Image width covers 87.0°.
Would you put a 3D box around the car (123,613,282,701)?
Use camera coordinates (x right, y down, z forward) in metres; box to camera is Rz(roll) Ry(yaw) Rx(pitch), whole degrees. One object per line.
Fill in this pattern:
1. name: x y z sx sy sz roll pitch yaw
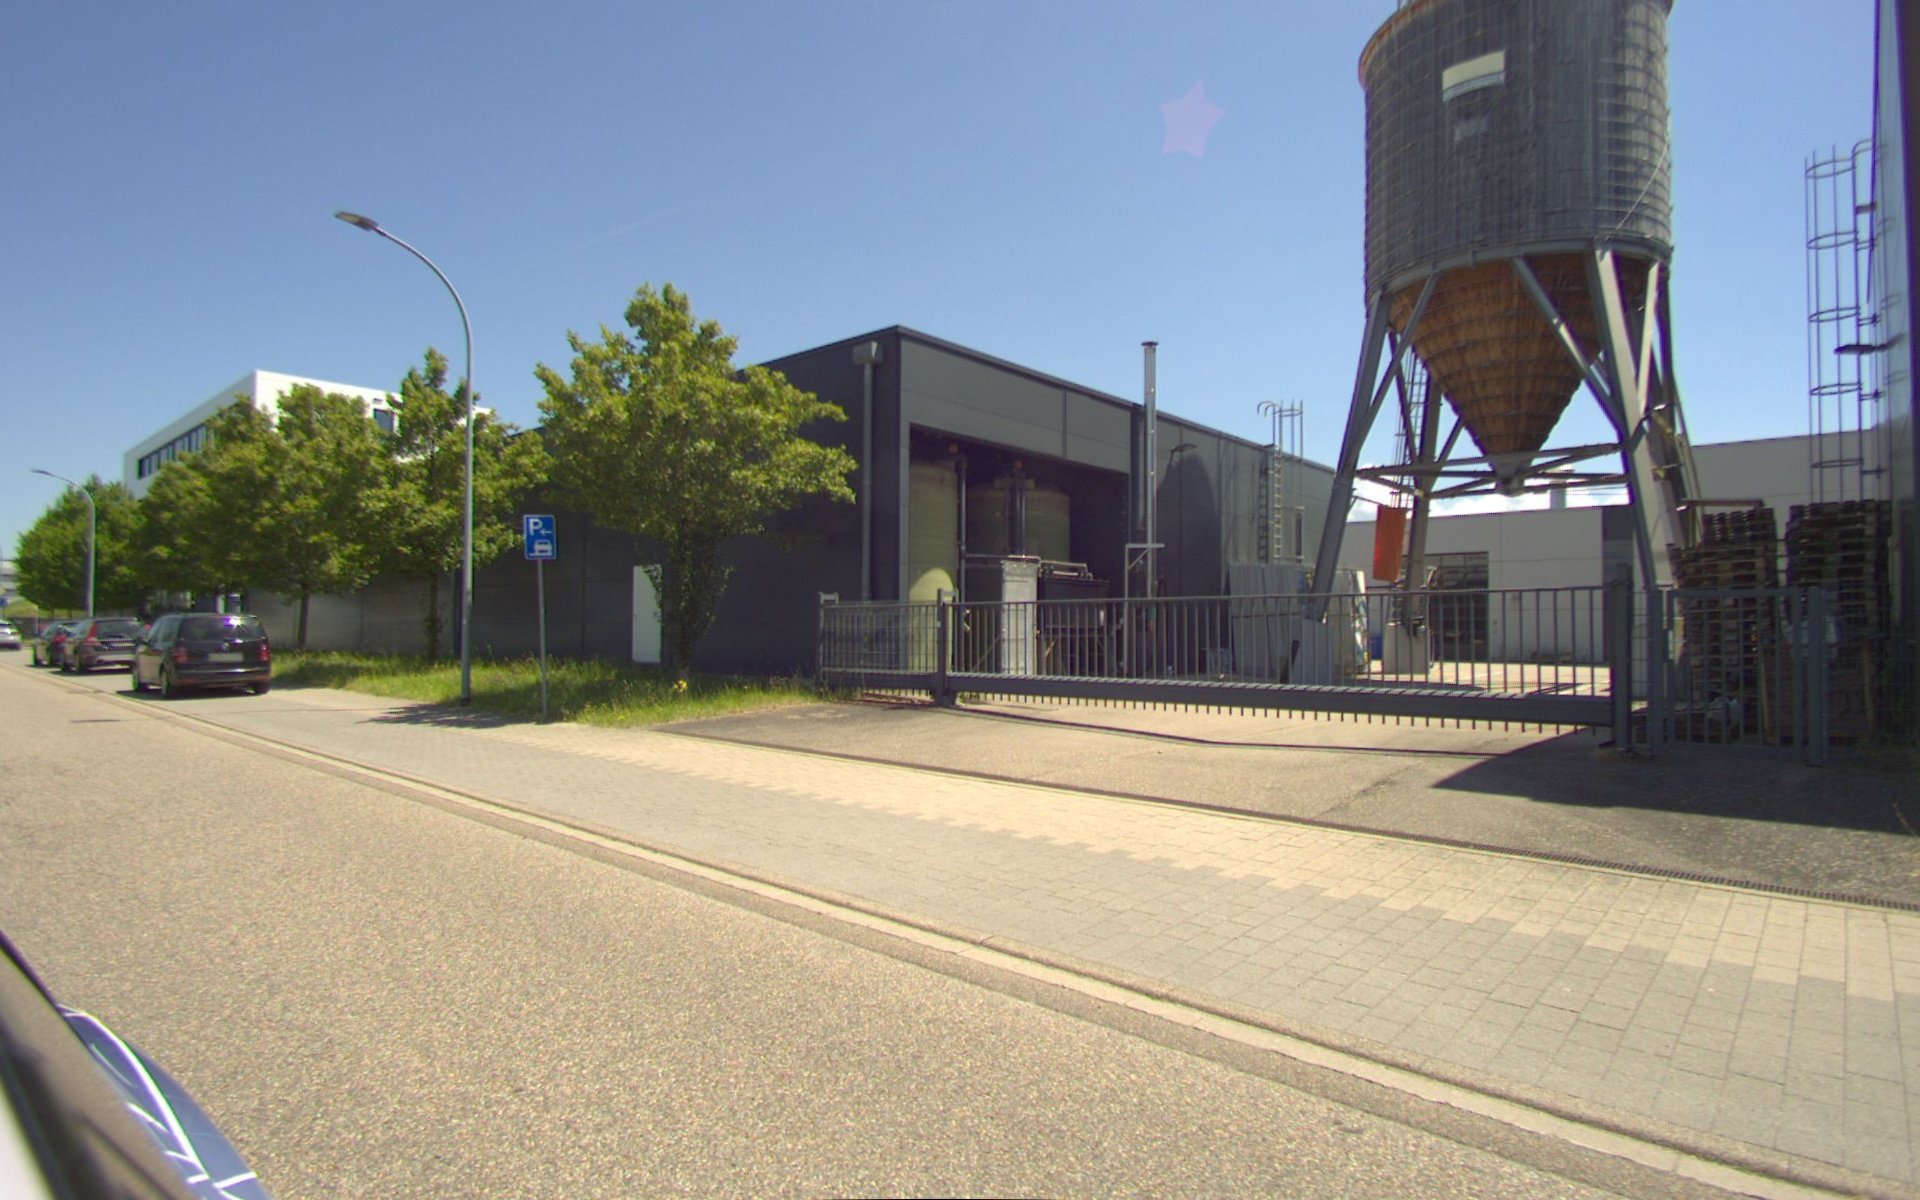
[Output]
1. car: -15.606 1.100 20.774 4.245 1.624 1.752 -1 -2 41

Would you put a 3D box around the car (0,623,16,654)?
1. car: -46.249 1.836 48.034 3.939 1.442 1.752 -1 -1 42

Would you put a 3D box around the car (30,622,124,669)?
1. car: -28.962 1.447 33.140 4.199 1.442 1.752 -1 -2 41

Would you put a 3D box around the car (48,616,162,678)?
1. car: -24.537 1.292 28.985 4.849 1.624 1.752 -1 -2 41
